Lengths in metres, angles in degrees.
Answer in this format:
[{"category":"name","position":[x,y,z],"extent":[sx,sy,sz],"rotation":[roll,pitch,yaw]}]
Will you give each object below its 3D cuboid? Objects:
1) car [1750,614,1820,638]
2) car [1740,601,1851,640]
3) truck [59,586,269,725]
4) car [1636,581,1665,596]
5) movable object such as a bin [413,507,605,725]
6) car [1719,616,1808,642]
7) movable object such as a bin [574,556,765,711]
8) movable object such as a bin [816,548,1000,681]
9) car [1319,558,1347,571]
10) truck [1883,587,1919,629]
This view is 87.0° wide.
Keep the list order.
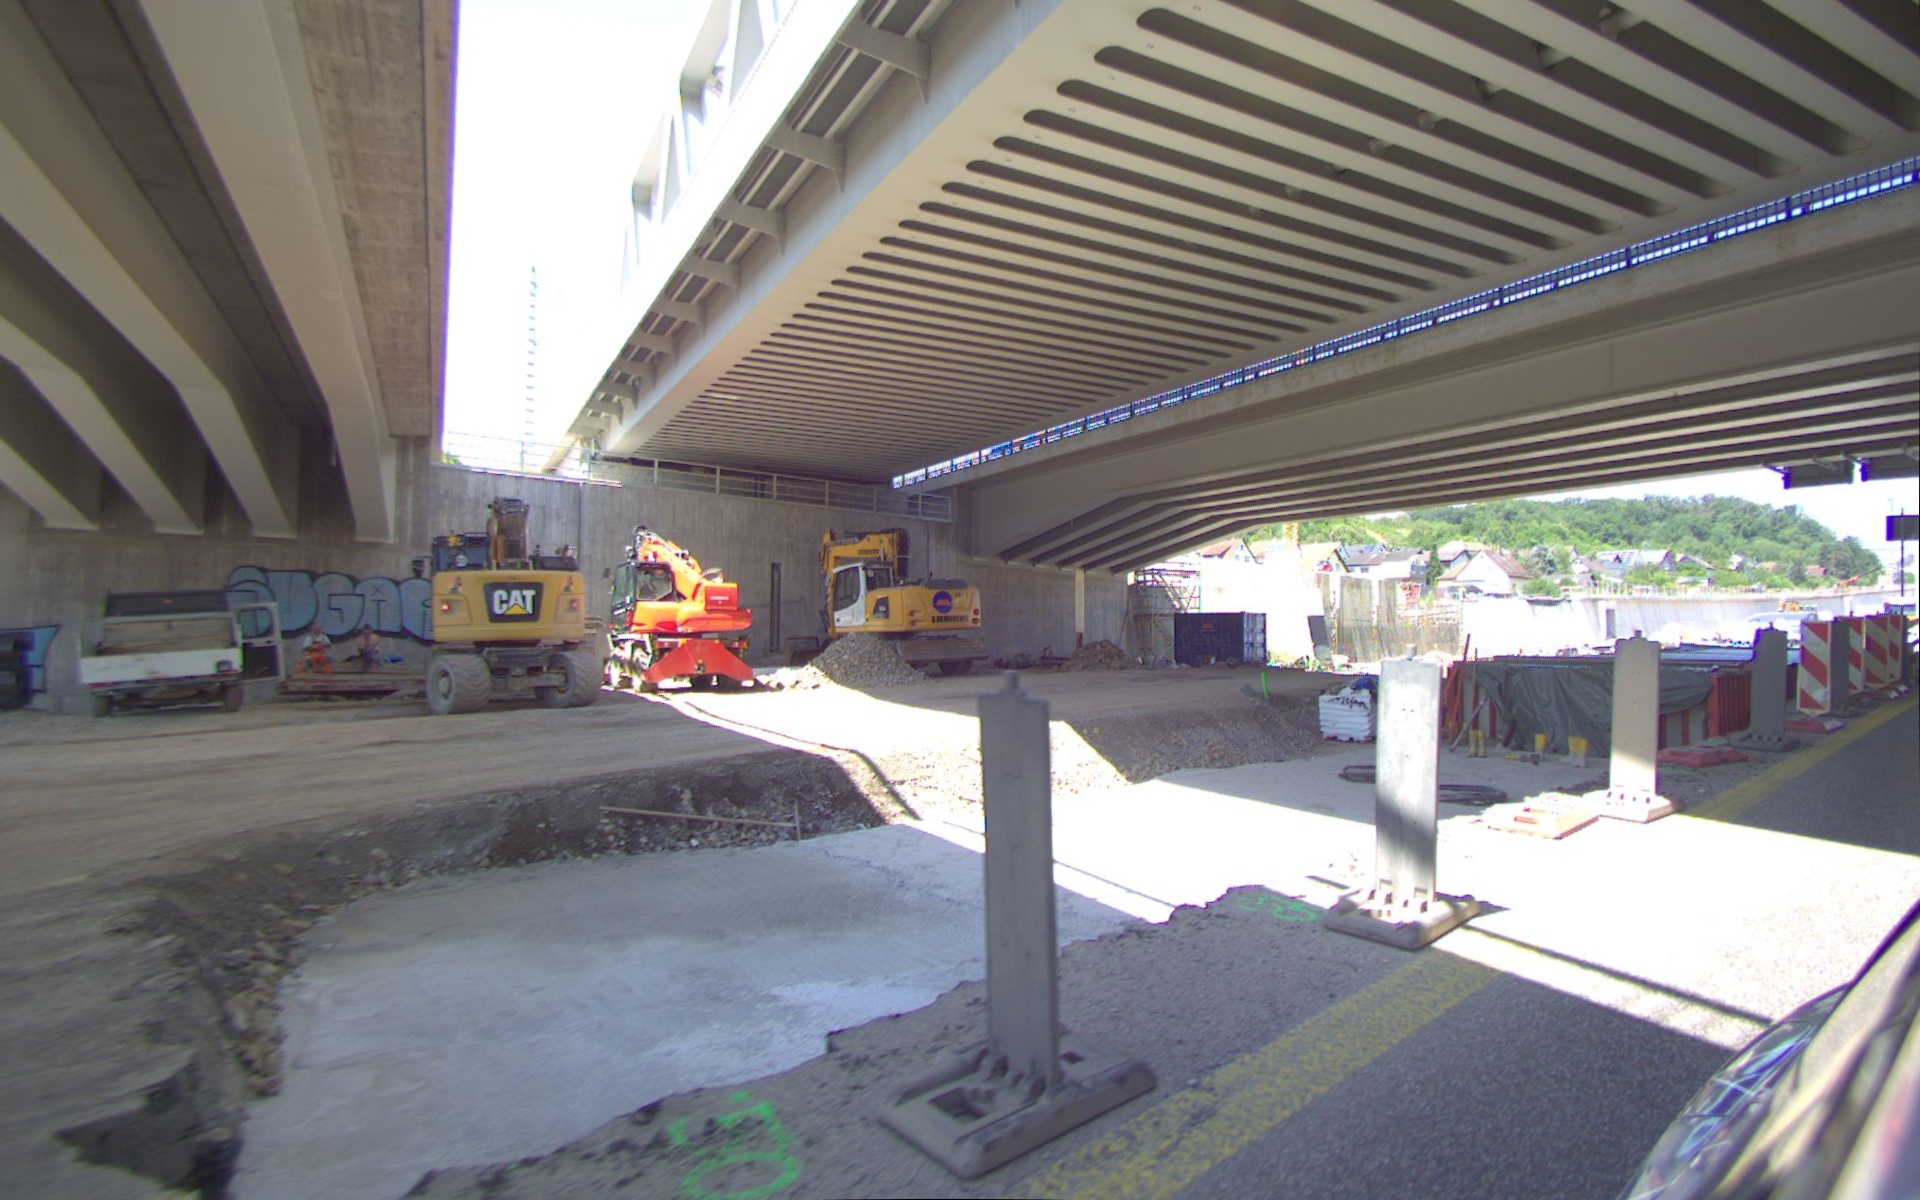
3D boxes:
[{"category":"car","position":[61.203,1.943,75.095],"extent":[3.859,1.707,1.666],"rotation":[-3,-1,45]},{"category":"car","position":[63.923,1.599,77.576],"extent":[6.266,2.615,2.028],"rotation":[-4,-4,36]},{"category":"truck","position":[-14.552,0.910,18.712],"extent":[2.616,2.100,6.537],"rotation":[0,-1,-37]},{"category":"car","position":[77.004,-1.288,112.796],"extent":[4.528,1.623,1.656],"rotation":[-2,1,-42]},{"category":"movable object such as a bin","position":[-8.615,0.259,19.118],"extent":[2.845,3.587,3.897],"rotation":[-2,-1,-30]},{"category":"car","position":[58.396,2.102,73.606],"extent":[1.690,1.792,4.796],"rotation":[0,-2,-40]},{"category":"movable object such as a bin","position":[-6.791,0.709,23.194],"extent":[2.450,3.095,5.253],"rotation":[-2,-1,-37]},{"category":"movable object such as a bin","position":[-1.527,0.383,28.018],"extent":[2.935,3.328,4.565],"rotation":[-2,-1,-37]},{"category":"car","position":[44.274,-4.193,120.070],"extent":[3.545,1.504,1.544],"rotation":[-2,1,-41]},{"category":"truck","position":[83.339,0.649,89.047],"extent":[5.342,3.447,2.502],"rotation":[-2,1,-41]}]
